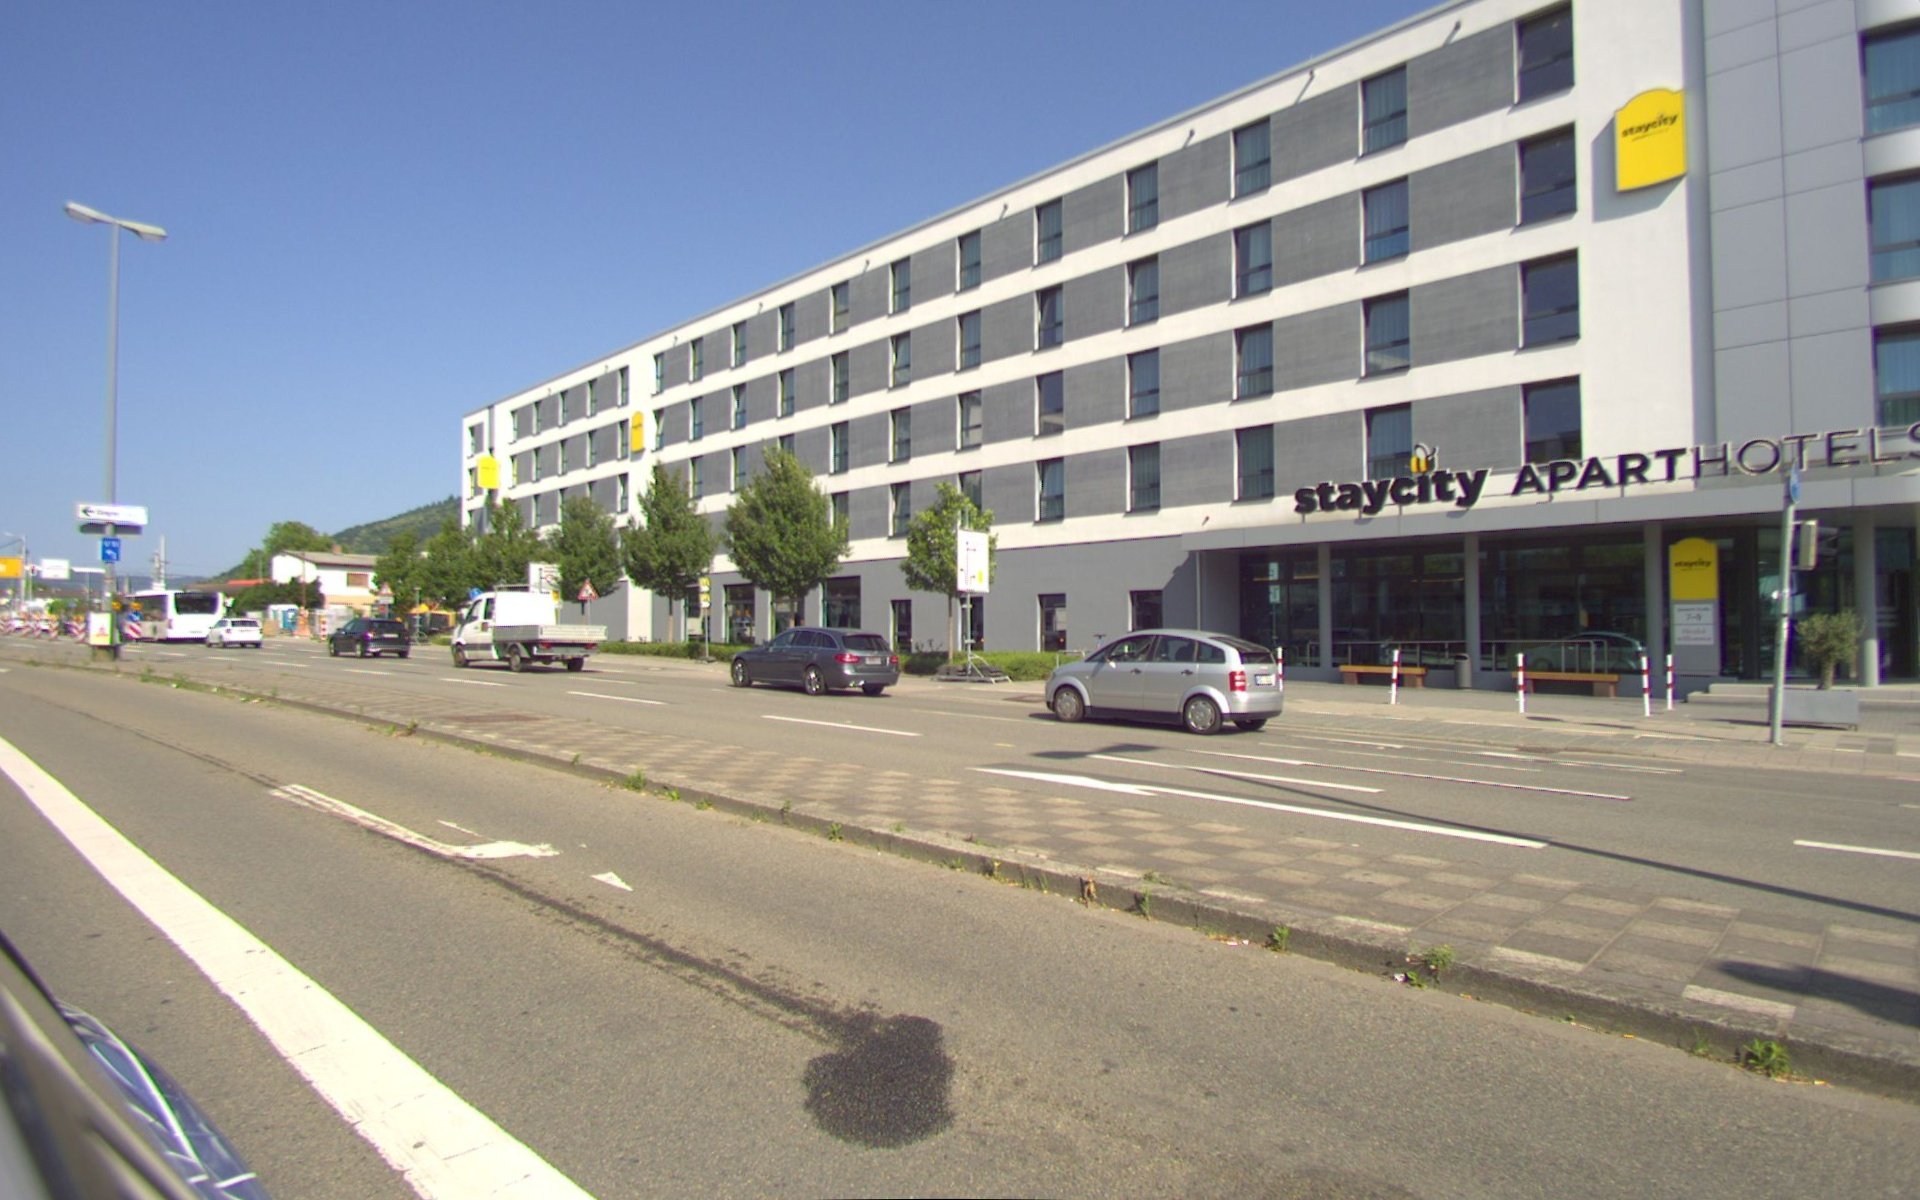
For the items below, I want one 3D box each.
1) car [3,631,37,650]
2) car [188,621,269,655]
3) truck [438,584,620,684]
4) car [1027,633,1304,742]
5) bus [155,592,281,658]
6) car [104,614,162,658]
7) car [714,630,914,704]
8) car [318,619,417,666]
[{"bbox_3d":[-88.919,3.813,95.728,3.585,1.631,1.698,-1,-1,37],"label":"car"},{"bbox_3d":[-36.425,1.897,50.376,4.405,1.497,1.975,0,-4,37],"label":"car"},{"bbox_3d":[-13.006,0.940,30.304,6.436,2.564,2.332,1,-5,42],"label":"truck"},{"bbox_3d":[3.132,1.277,15.825,3.915,1.449,1.753,-1,-3,43],"label":"car"},{"bbox_3d":[-39.038,1.279,52.976,11.970,3.102,2.709,-1,-4,41],"label":"bus"},{"bbox_3d":[-41.145,1.752,50.304,4.164,2.029,1.657,0,0,42],"label":"car"},{"bbox_3d":[-3.300,1.423,22.309,4.586,1.438,1.934,-1,-4,44],"label":"car"},{"bbox_3d":[-22.793,1.576,38.877,4.409,1.589,1.973,0,1,40],"label":"car"}]
